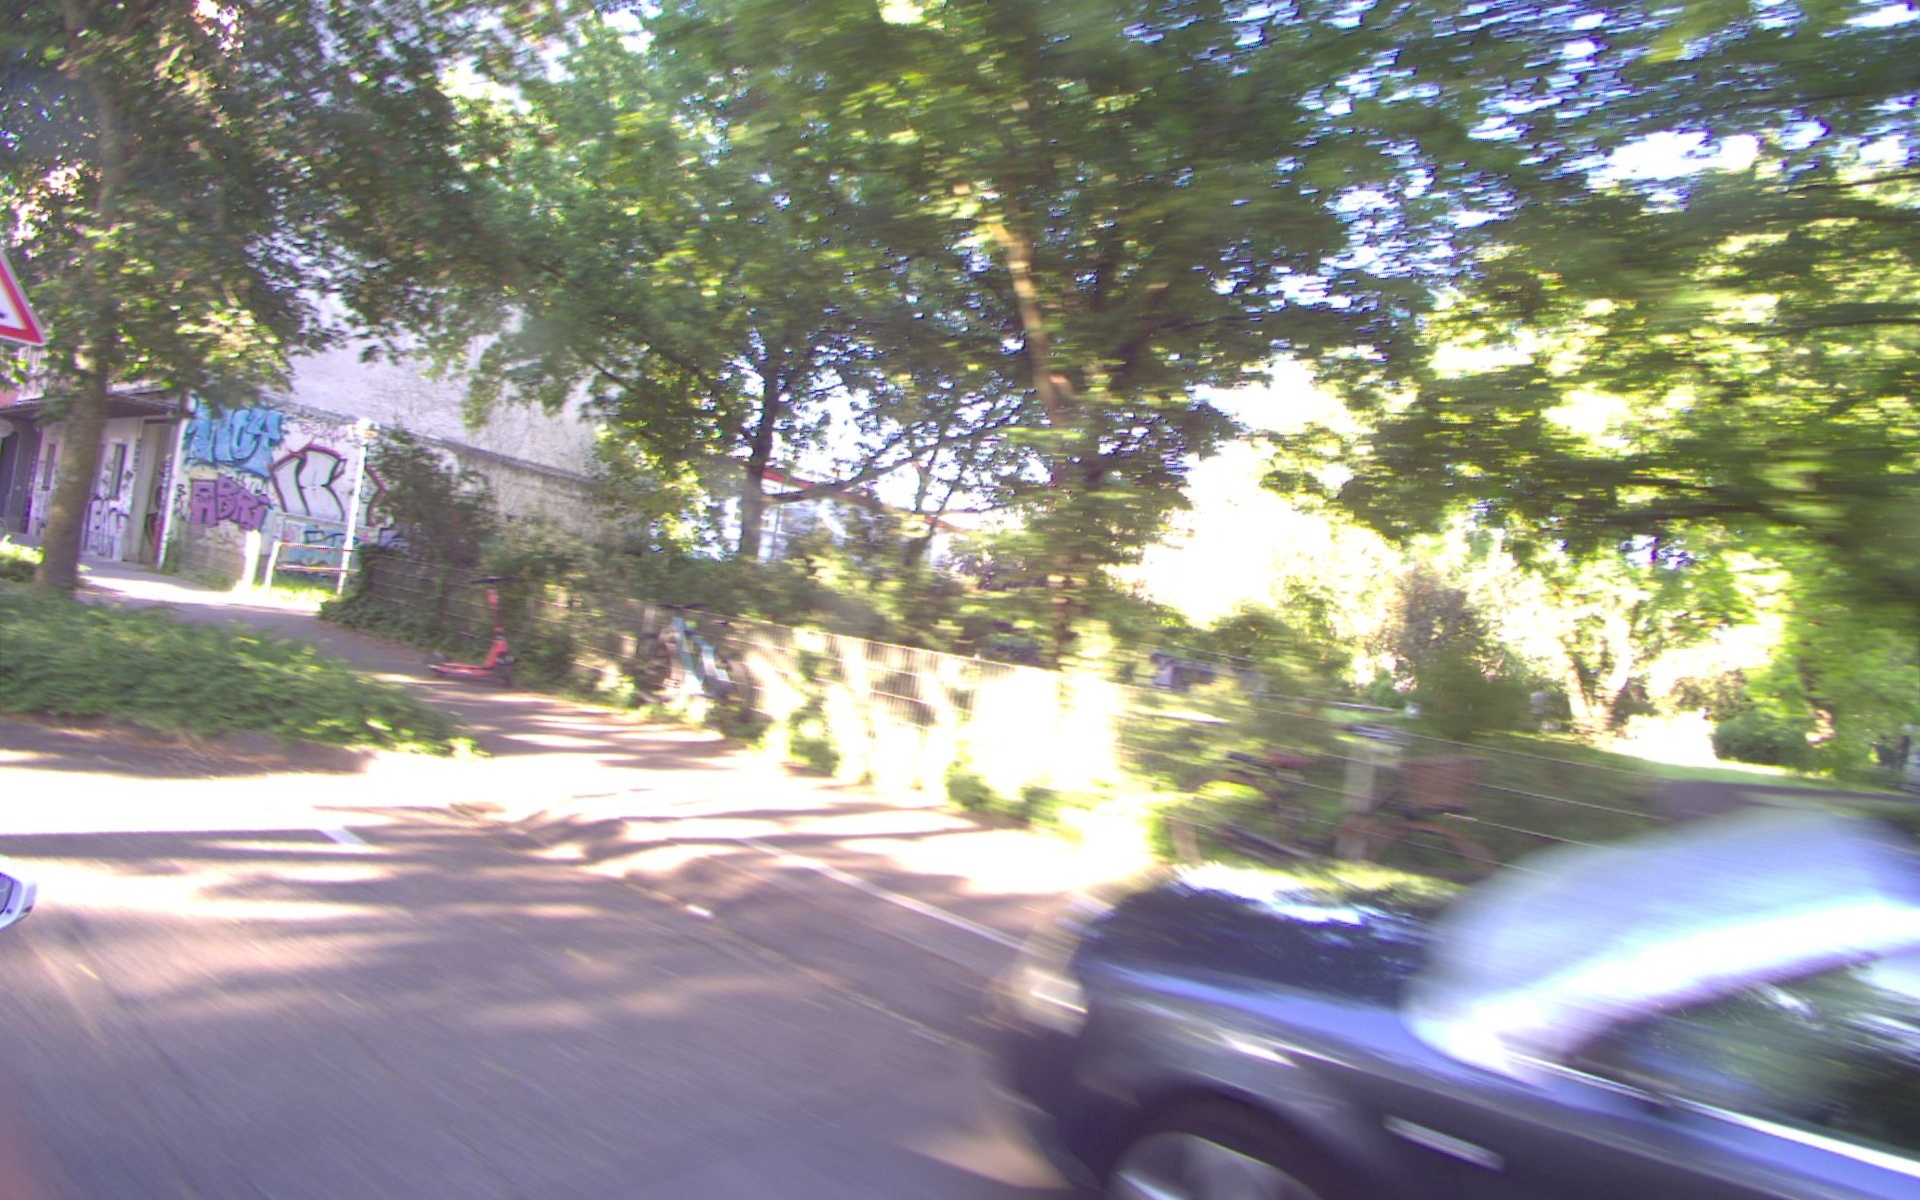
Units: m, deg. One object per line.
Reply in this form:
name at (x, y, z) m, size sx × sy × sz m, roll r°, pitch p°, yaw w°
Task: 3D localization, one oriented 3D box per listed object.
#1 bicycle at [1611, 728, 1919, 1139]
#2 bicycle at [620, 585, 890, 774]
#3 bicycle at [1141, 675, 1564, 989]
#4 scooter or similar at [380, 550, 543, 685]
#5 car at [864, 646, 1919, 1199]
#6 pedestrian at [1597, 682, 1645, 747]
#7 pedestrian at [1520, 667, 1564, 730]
bicycle at (4.125, 1.376, 4.010) m, size 2.294 × 1.318 × 1.288 m, roll 7°, pitch 1°, yaw 42°
bicycle at (-1.947, 0.666, 9.209) m, size 2.653 × 1.283 × 0.846 m, roll 8°, pitch 0°, yaw 41°
bicycle at (2.168, 1.192, 5.727) m, size 1.953 × 1.215 × 0.846 m, roll 8°, pitch 0°, yaw 41°
scooter or similar at (-5.504, 0.190, 11.140) m, size 1.445 × 1.277 × 0.546 m, roll 7°, pitch 1°, yaw 8°
car at (2.068, 1.151, 2.055) m, size 4.345 × 1.512 × 1.721 m, roll 7°, pitch 0°, yaw 36°
pedestrian at (22.427, 3.869, 34.144) m, size 0.736 × 2.038 × 0.911 m, roll 7°, pitch 0°, yaw -5°
pedestrian at (20.353, 3.426, 35.222) m, size 0.736 × 2.038 × 0.911 m, roll 7°, pitch 0°, yaw -5°
